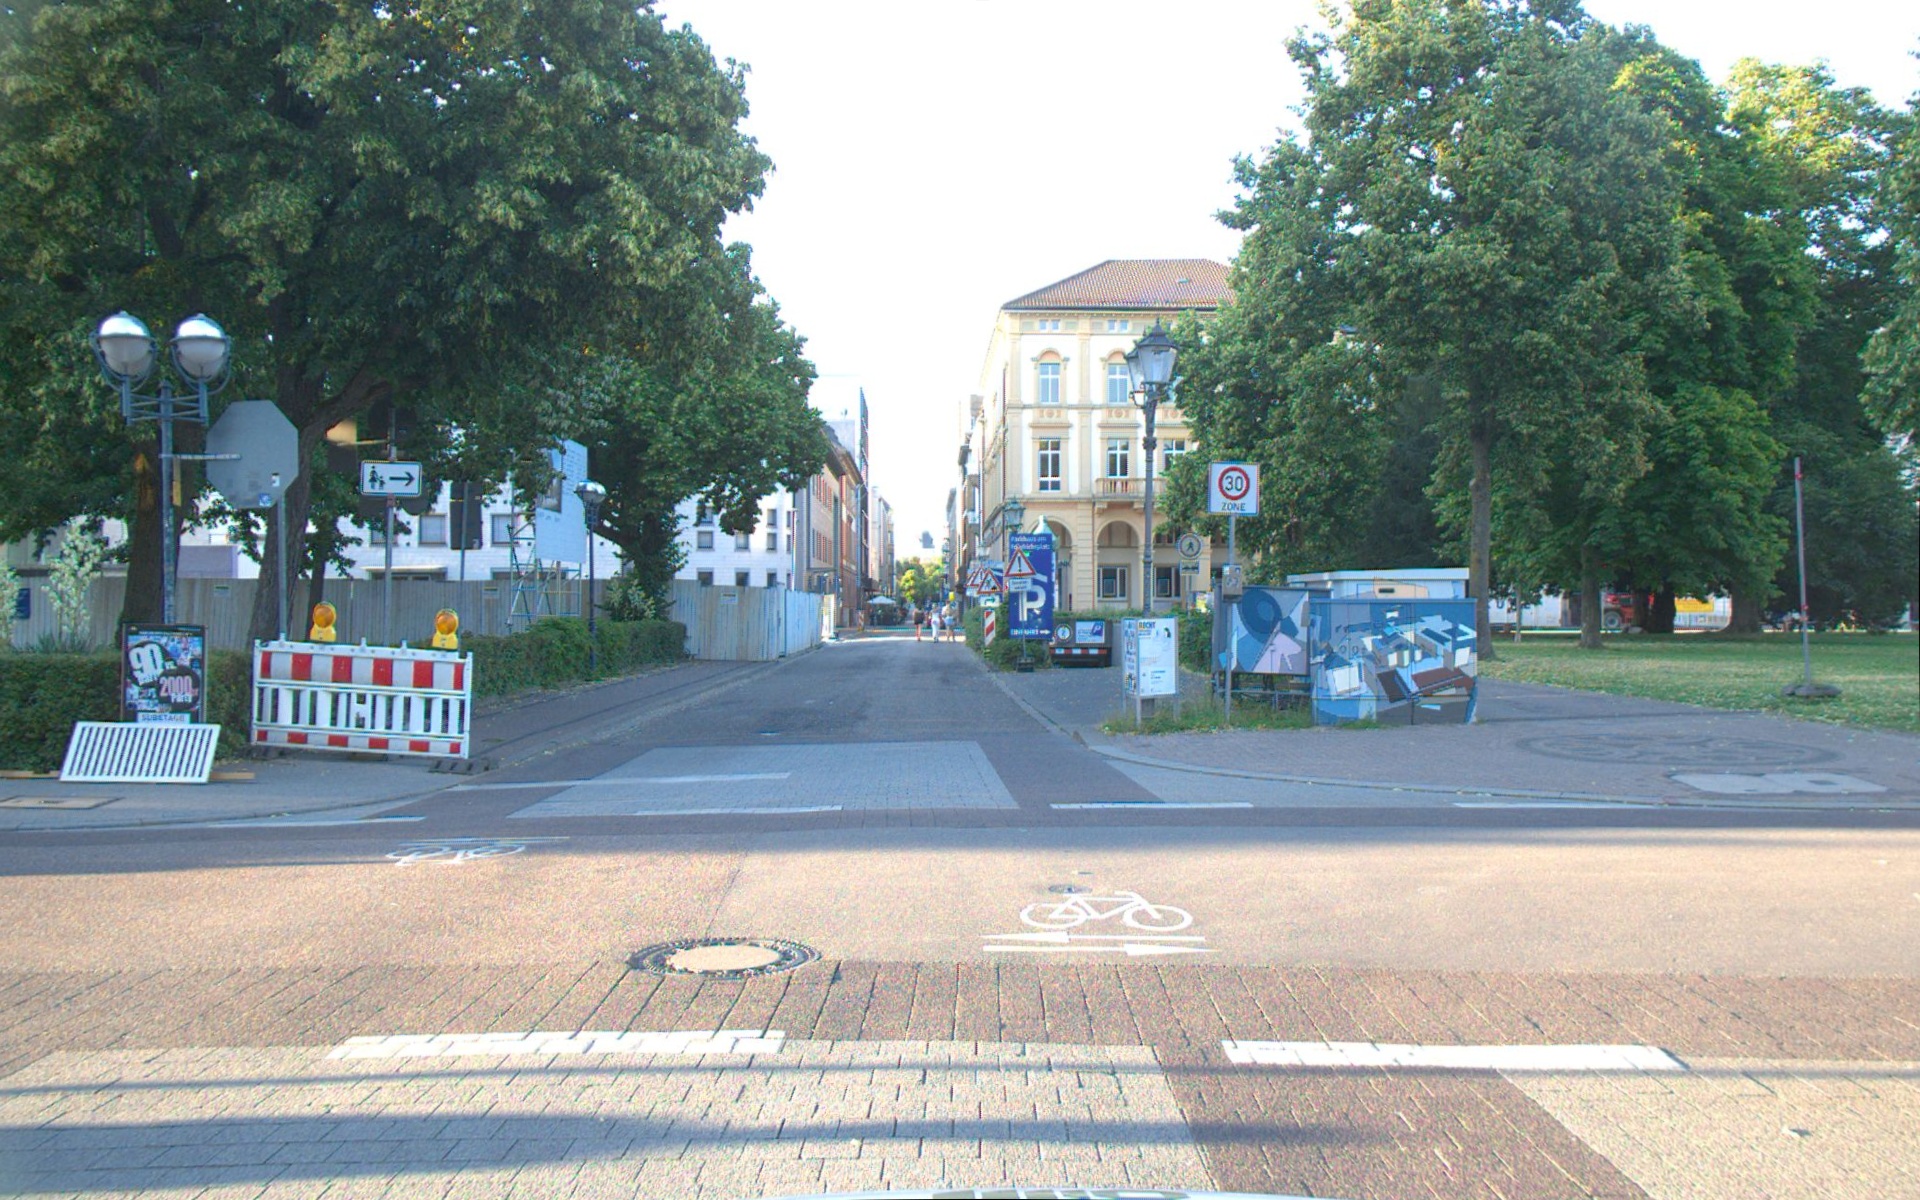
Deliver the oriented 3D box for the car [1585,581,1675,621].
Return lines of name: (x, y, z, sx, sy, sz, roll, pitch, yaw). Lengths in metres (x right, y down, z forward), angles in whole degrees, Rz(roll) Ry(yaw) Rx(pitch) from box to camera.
car: (35.524, 0.070, 87.767, 3.949, 2.049, 2.000, -1, 0, 0)

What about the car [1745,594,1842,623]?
car: (38.385, 0.383, 76.204, 3.506, 1.262, 1.996, -1, 0, -8)

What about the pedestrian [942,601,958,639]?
pedestrian: (-0.435, 0.866, 71.570, 0.644, 1.645, 0.745, -1, 0, -1)

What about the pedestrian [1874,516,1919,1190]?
pedestrian: (2.804, 0.639, 3.963, 0.719, 1.719, 0.836, -1, -1, -2)

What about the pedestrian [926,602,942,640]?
pedestrian: (-1.115, 0.913, 71.536, 0.644, 1.645, 0.745, -1, 0, -1)

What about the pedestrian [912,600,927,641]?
pedestrian: (-1.785, 0.899, 72.861, 0.644, 1.790, 0.745, -1, 0, -1)

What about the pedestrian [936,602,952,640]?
pedestrian: (-0.701, 0.928, 72.840, 0.644, 1.664, 0.745, -1, 0, -1)
